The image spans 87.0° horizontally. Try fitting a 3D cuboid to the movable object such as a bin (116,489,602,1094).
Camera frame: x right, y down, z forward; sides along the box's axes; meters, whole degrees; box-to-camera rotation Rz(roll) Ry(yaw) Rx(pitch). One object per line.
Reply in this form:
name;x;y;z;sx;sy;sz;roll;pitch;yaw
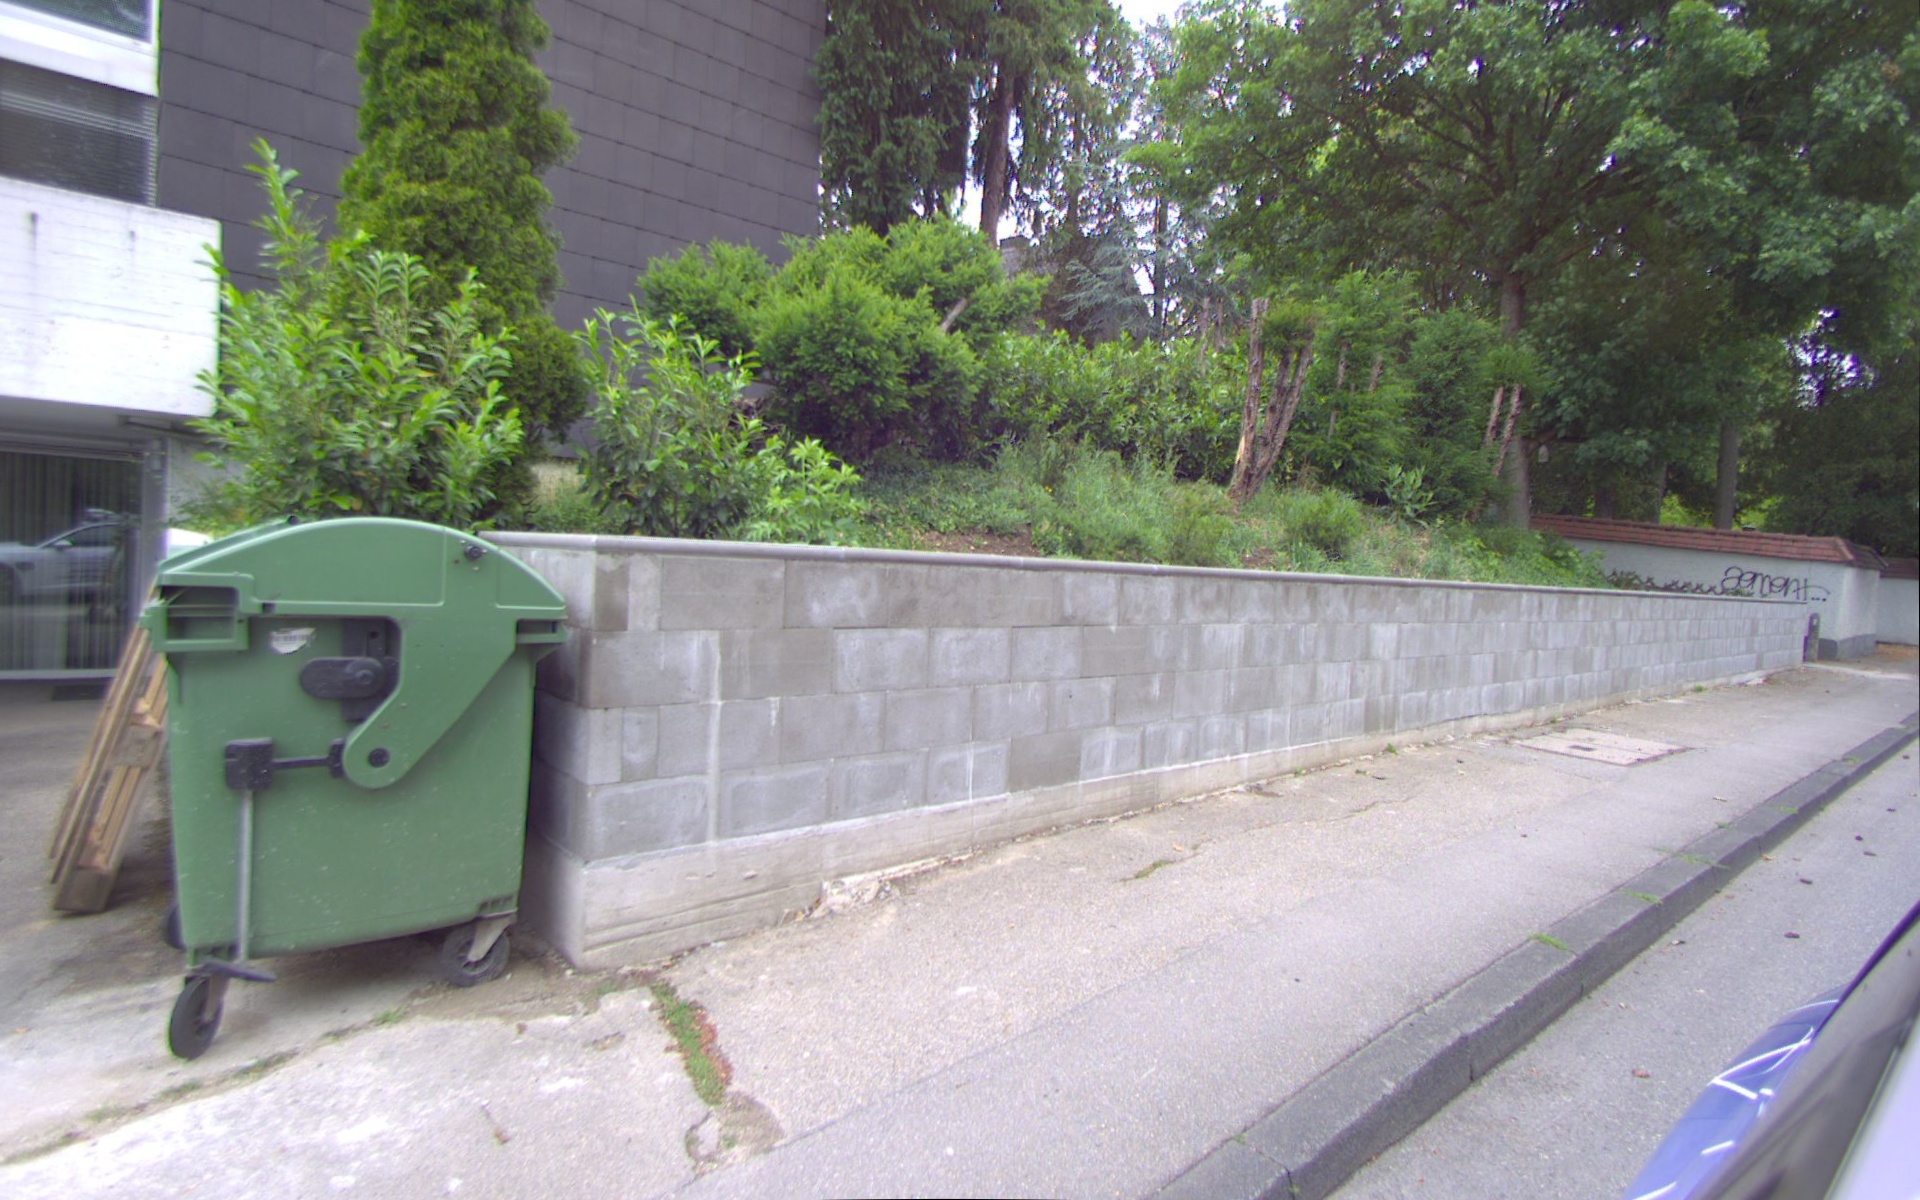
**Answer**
movable object such as a bin;-1.999;0.417;3.307;1.160;1.468;1.303;0;4;-40
